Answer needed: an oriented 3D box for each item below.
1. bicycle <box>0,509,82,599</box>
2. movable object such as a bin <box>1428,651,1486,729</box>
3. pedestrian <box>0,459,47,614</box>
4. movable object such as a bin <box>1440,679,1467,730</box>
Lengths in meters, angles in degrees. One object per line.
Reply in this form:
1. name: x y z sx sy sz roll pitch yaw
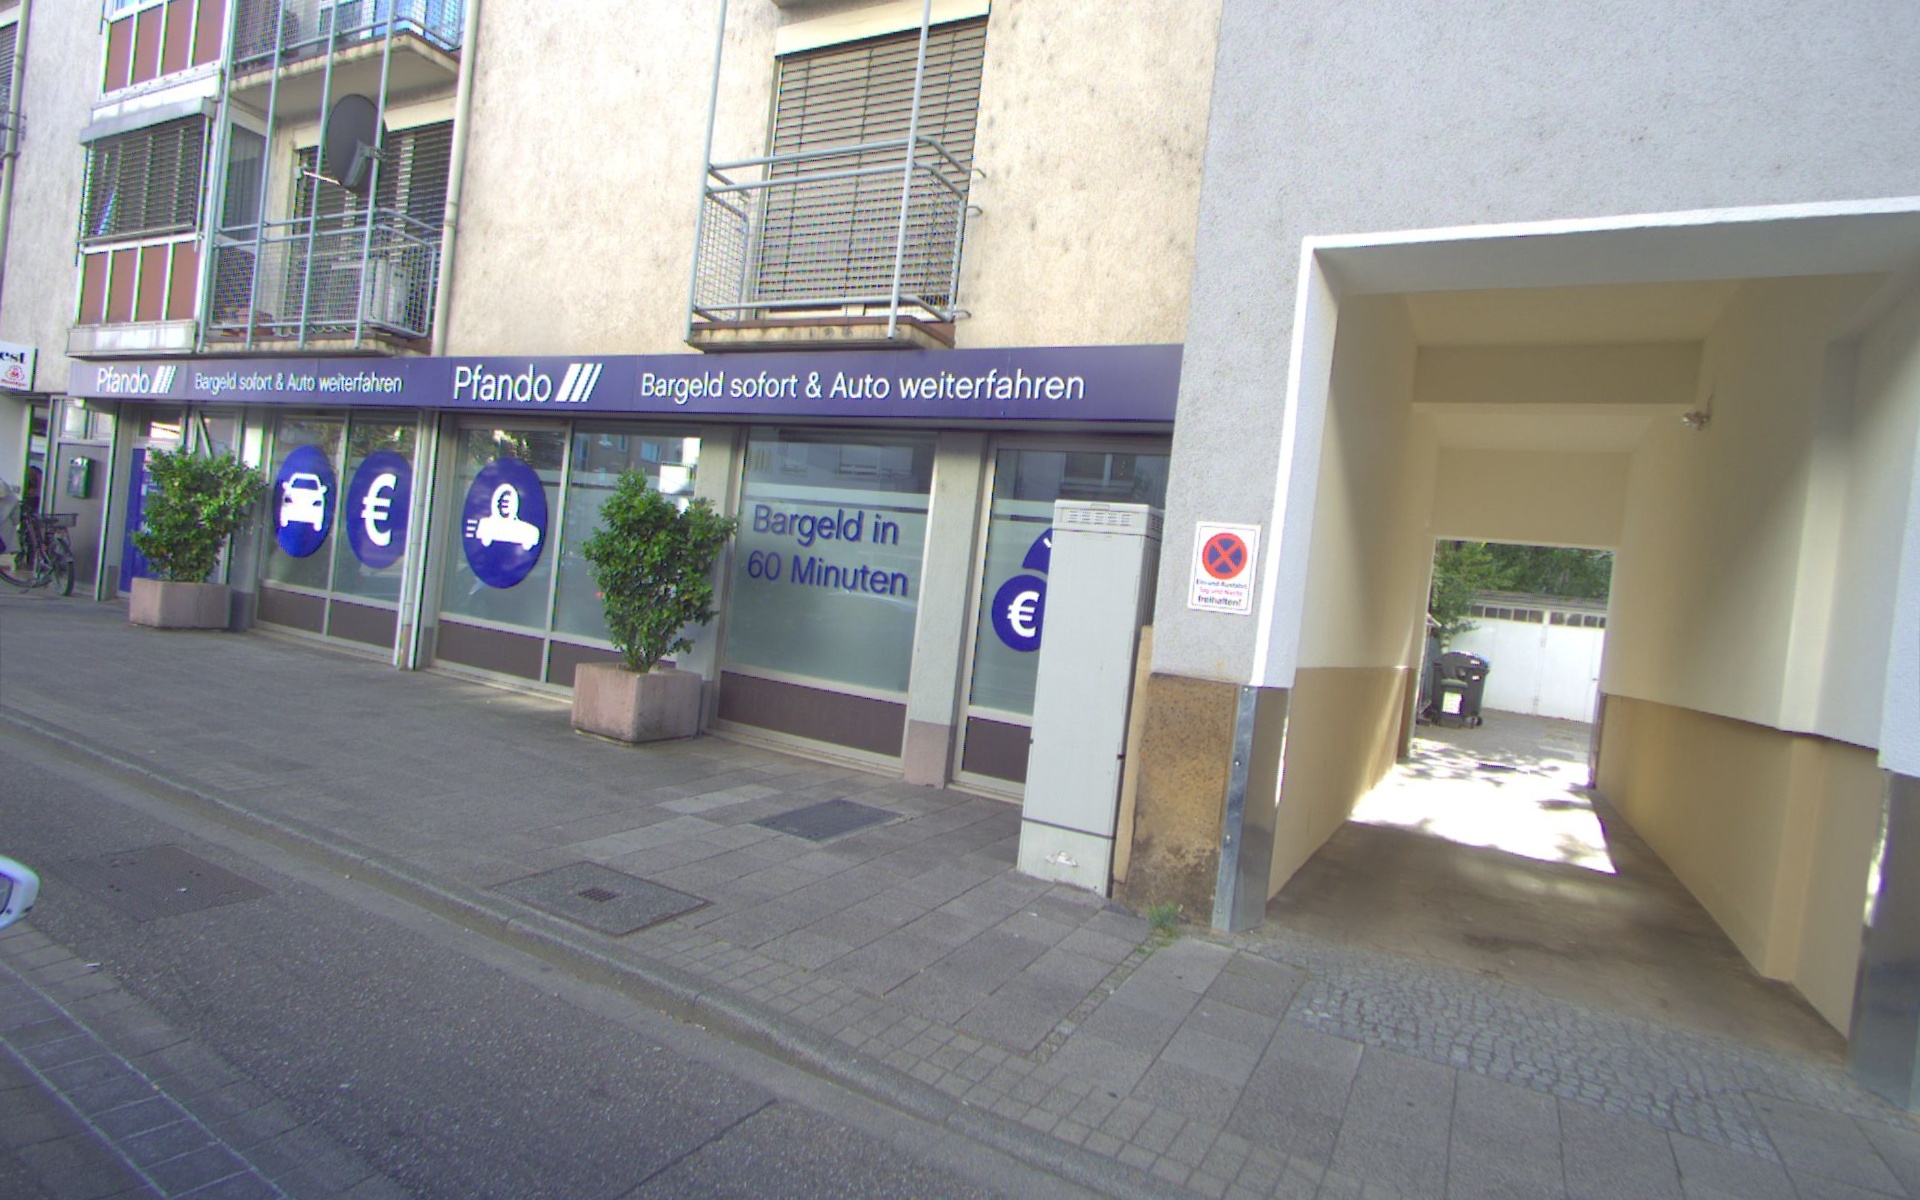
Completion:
1. bicycle: -11.956 -0.617 12.861 1.678 1.010 0.543 6 -1 32
2. movable object such as a bin: 9.957 1.784 20.143 0.873 1.411 0.758 7 2 28
3. pedestrian: -10.532 -0.725 10.757 0.738 1.611 0.827 6 -1 31
4. movable object such as a bin: 9.552 2.010 19.484 0.365 0.920 0.420 7 2 28
